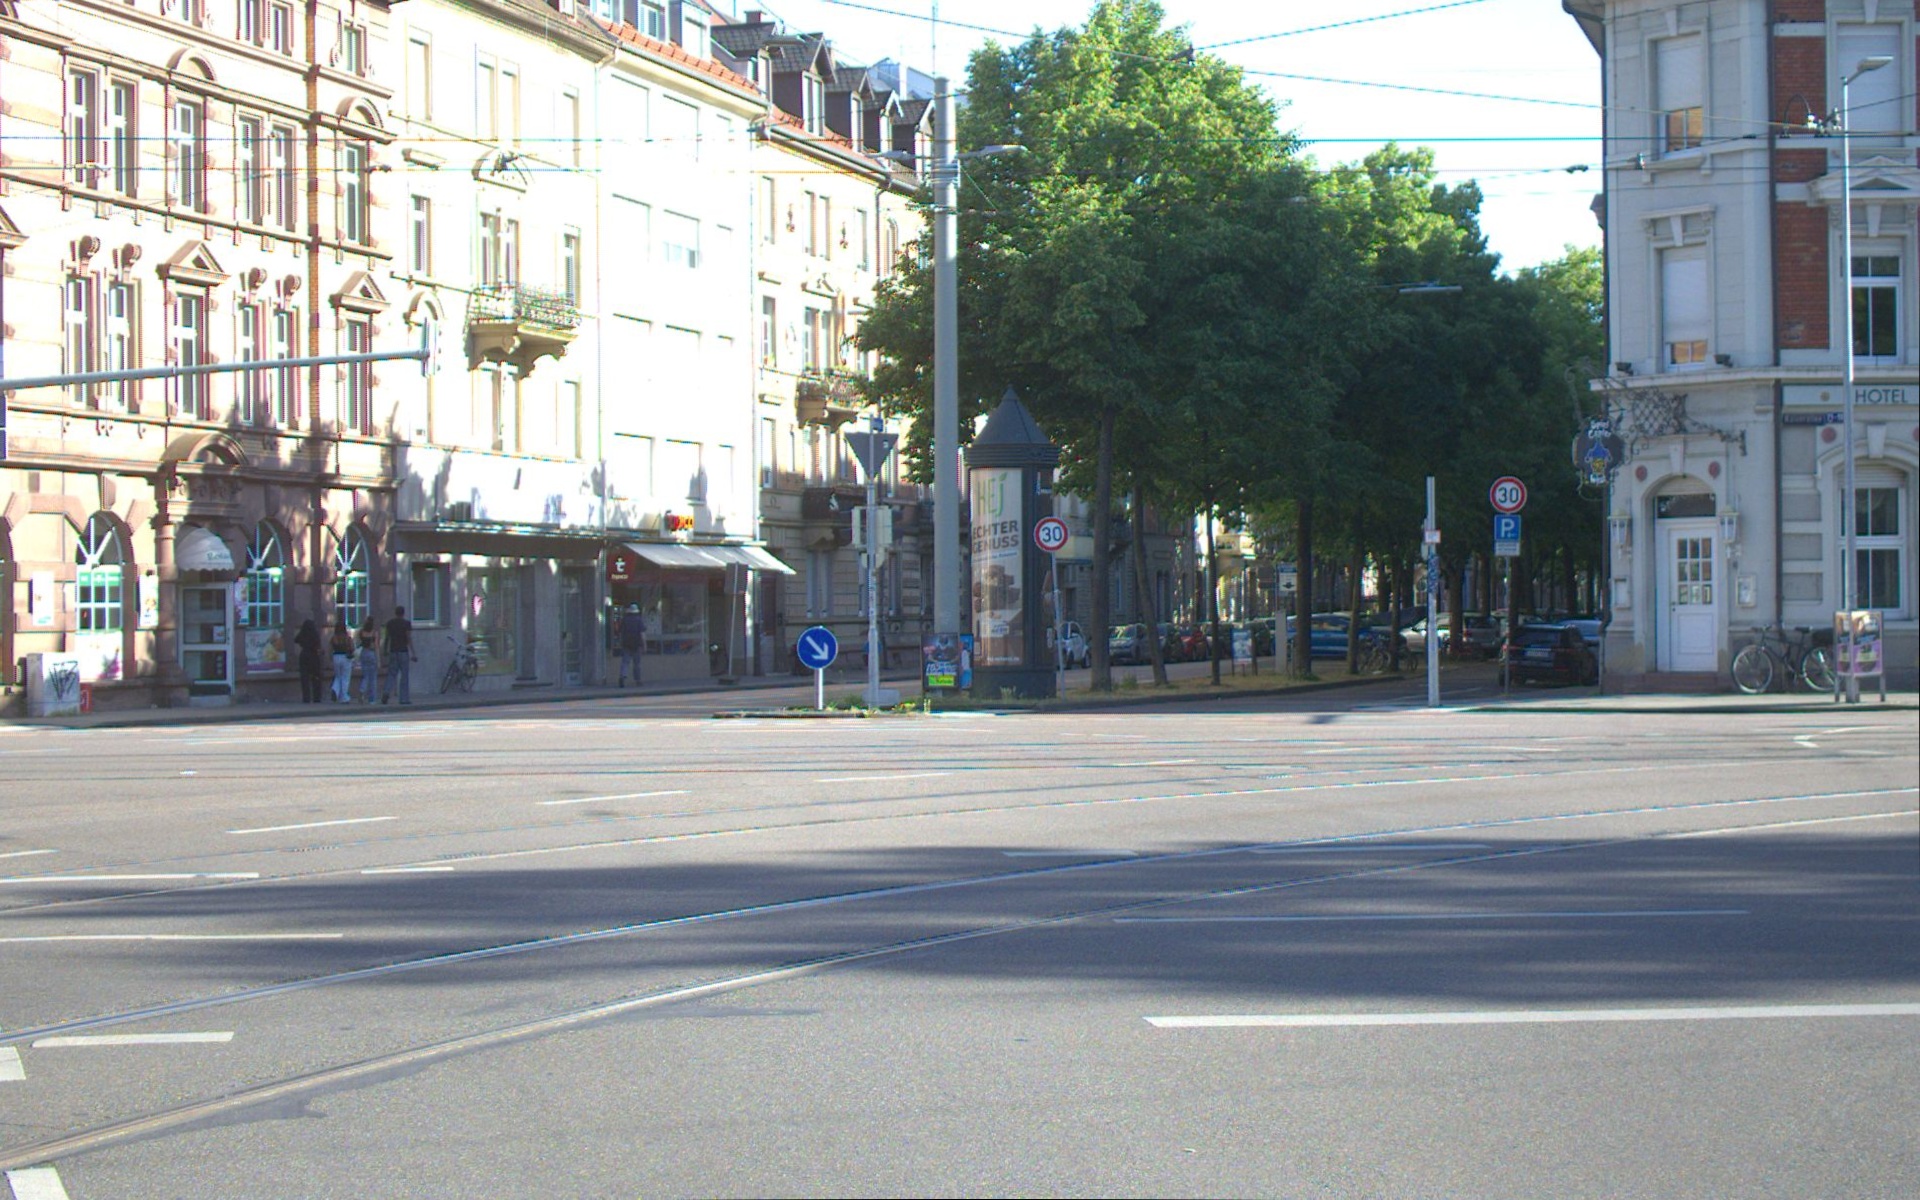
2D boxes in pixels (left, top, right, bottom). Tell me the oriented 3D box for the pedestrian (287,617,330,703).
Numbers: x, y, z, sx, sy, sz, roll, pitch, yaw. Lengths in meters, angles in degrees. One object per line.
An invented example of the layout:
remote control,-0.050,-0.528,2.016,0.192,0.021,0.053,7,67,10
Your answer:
pedestrian,-12.487,1.151,65.923,0.627,1.636,0.537,-1,0,14

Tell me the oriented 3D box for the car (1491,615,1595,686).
car,13.074,1.108,76.934,1.995,1.492,4.031,-1,0,14

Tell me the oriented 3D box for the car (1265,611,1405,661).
car,12.018,1.151,110.181,3.993,1.540,1.997,-1,0,28

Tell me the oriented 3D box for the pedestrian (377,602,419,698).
pedestrian,-10.898,0.965,66.666,0.580,1.830,0.632,-1,0,16

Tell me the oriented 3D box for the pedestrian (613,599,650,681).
pedestrian,-7.708,0.944,80.675,0.682,1.902,0.632,-1,0,16

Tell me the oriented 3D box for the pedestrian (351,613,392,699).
pedestrian,-11.283,1.066,65.944,0.551,1.636,0.632,-1,0,13

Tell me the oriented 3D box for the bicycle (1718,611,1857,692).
bicycle,12.438,0.769,51.697,1.961,1.187,0.546,-1,0,5

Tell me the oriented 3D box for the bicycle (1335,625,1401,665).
bicycle,11.129,1.222,93.763,0.582,1.063,1.949,-1,0,-37

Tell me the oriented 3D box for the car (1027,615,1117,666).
car,3.515,1.254,107.362,1.995,1.492,4.031,-1,0,14

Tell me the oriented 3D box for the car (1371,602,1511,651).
car,15.539,0.862,111.091,3.993,1.540,1.997,-1,0,30

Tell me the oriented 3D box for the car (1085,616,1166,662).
car,5.653,1.309,117.091,1.995,1.492,4.031,-1,0,14

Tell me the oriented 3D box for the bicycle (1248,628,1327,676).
bicycle,7.351,1.160,77.258,0.582,1.063,1.949,-1,0,-37

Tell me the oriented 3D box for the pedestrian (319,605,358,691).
pedestrian,-11.899,0.924,65.863,0.551,1.636,0.537,-1,0,13

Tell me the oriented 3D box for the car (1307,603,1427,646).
car,15.284,0.910,129.095,3.993,1.540,1.997,-1,0,28

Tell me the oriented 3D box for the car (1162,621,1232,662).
car,9.045,1.564,131.035,1.995,1.492,4.031,-1,0,14

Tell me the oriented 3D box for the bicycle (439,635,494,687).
bicycle,-10.616,1.305,73.995,0.495,1.063,1.768,-1,0,16
